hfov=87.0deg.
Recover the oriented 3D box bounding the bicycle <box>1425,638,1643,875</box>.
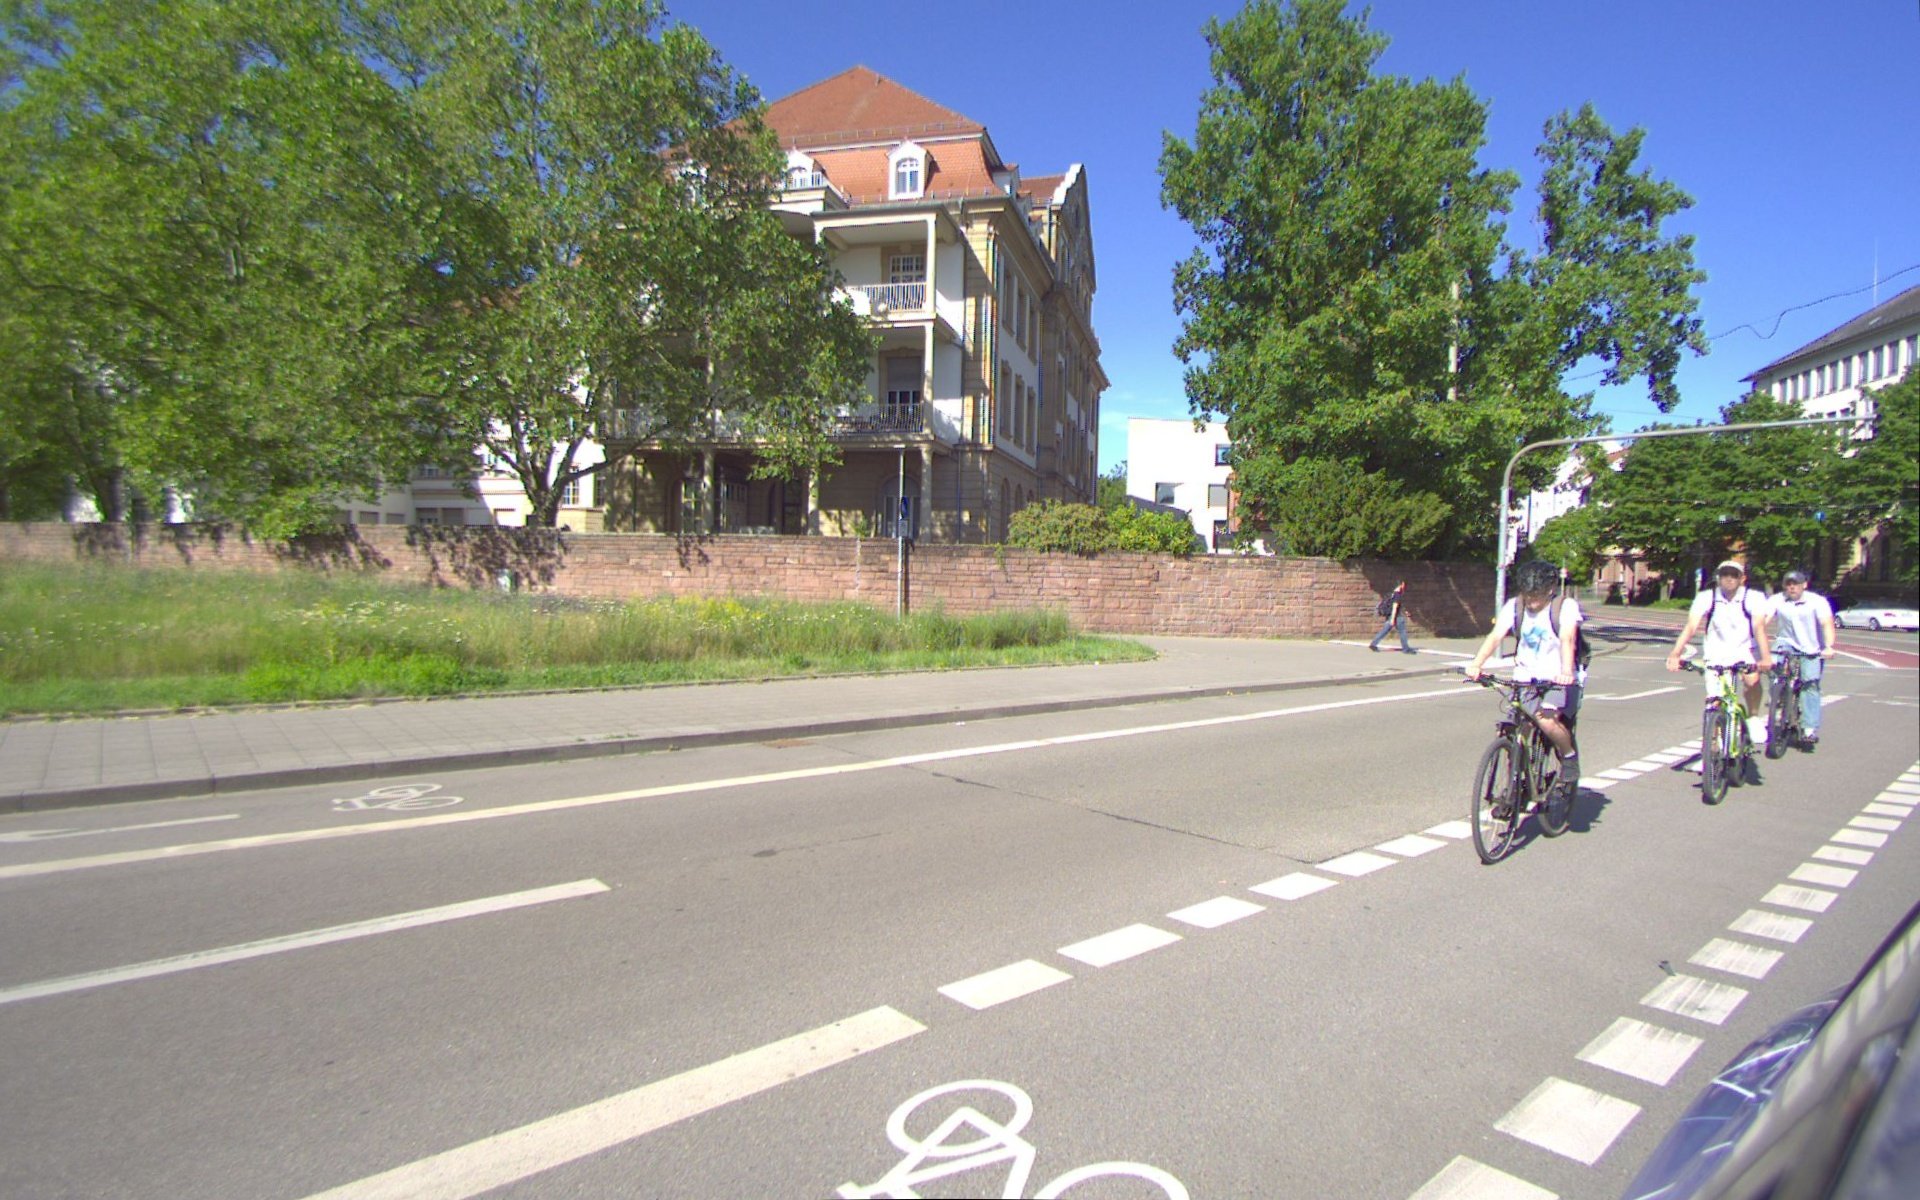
[{"bbox_3d":[3.508,0.847,6.112,1.795,1.152,0.616,0,1,-43],"label":"bicycle"}]

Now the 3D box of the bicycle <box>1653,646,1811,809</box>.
[{"bbox_3d":[6.129,0.941,8.001,1.812,1.064,0.672,0,0,-42],"label":"bicycle"}]

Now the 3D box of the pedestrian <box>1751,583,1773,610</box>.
[{"bbox_3d":[55.557,-0.227,70.073,0.745,1.835,0.978,1,1,8],"label":"pedestrian"}]

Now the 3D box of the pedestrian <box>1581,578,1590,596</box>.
[{"bbox_3d":[65.472,-1.339,106.003,0.751,1.837,0.969,1,-3,30],"label":"pedestrian"}]

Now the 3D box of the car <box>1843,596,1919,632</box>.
[{"bbox_3d":[44.096,0.633,47.809,1.822,1.504,4.149,2,2,13],"label":"car"}]

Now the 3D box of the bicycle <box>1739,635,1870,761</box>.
[{"bbox_3d":[8.548,0.931,10.213,1.871,1.063,0.748,0,2,-43],"label":"bicycle"}]

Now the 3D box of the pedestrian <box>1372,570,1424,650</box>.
[{"bbox_3d":[10.791,0.228,24.963,0.946,1.872,0.730,3,2,9],"label":"pedestrian"}]

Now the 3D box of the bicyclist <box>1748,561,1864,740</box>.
[{"bbox_3d":[8.473,0.467,10.136,0.851,1.695,0.741,0,1,-42],"label":"bicyclist"}]

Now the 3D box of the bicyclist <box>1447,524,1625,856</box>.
[{"bbox_3d":[3.465,0.484,6.081,0.923,1.808,0.677,0,0,-42],"label":"bicyclist"}]

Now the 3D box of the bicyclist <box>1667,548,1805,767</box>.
[{"bbox_3d":[6.161,0.419,8.029,1.063,1.603,0.675,0,-1,-42],"label":"bicyclist"}]
